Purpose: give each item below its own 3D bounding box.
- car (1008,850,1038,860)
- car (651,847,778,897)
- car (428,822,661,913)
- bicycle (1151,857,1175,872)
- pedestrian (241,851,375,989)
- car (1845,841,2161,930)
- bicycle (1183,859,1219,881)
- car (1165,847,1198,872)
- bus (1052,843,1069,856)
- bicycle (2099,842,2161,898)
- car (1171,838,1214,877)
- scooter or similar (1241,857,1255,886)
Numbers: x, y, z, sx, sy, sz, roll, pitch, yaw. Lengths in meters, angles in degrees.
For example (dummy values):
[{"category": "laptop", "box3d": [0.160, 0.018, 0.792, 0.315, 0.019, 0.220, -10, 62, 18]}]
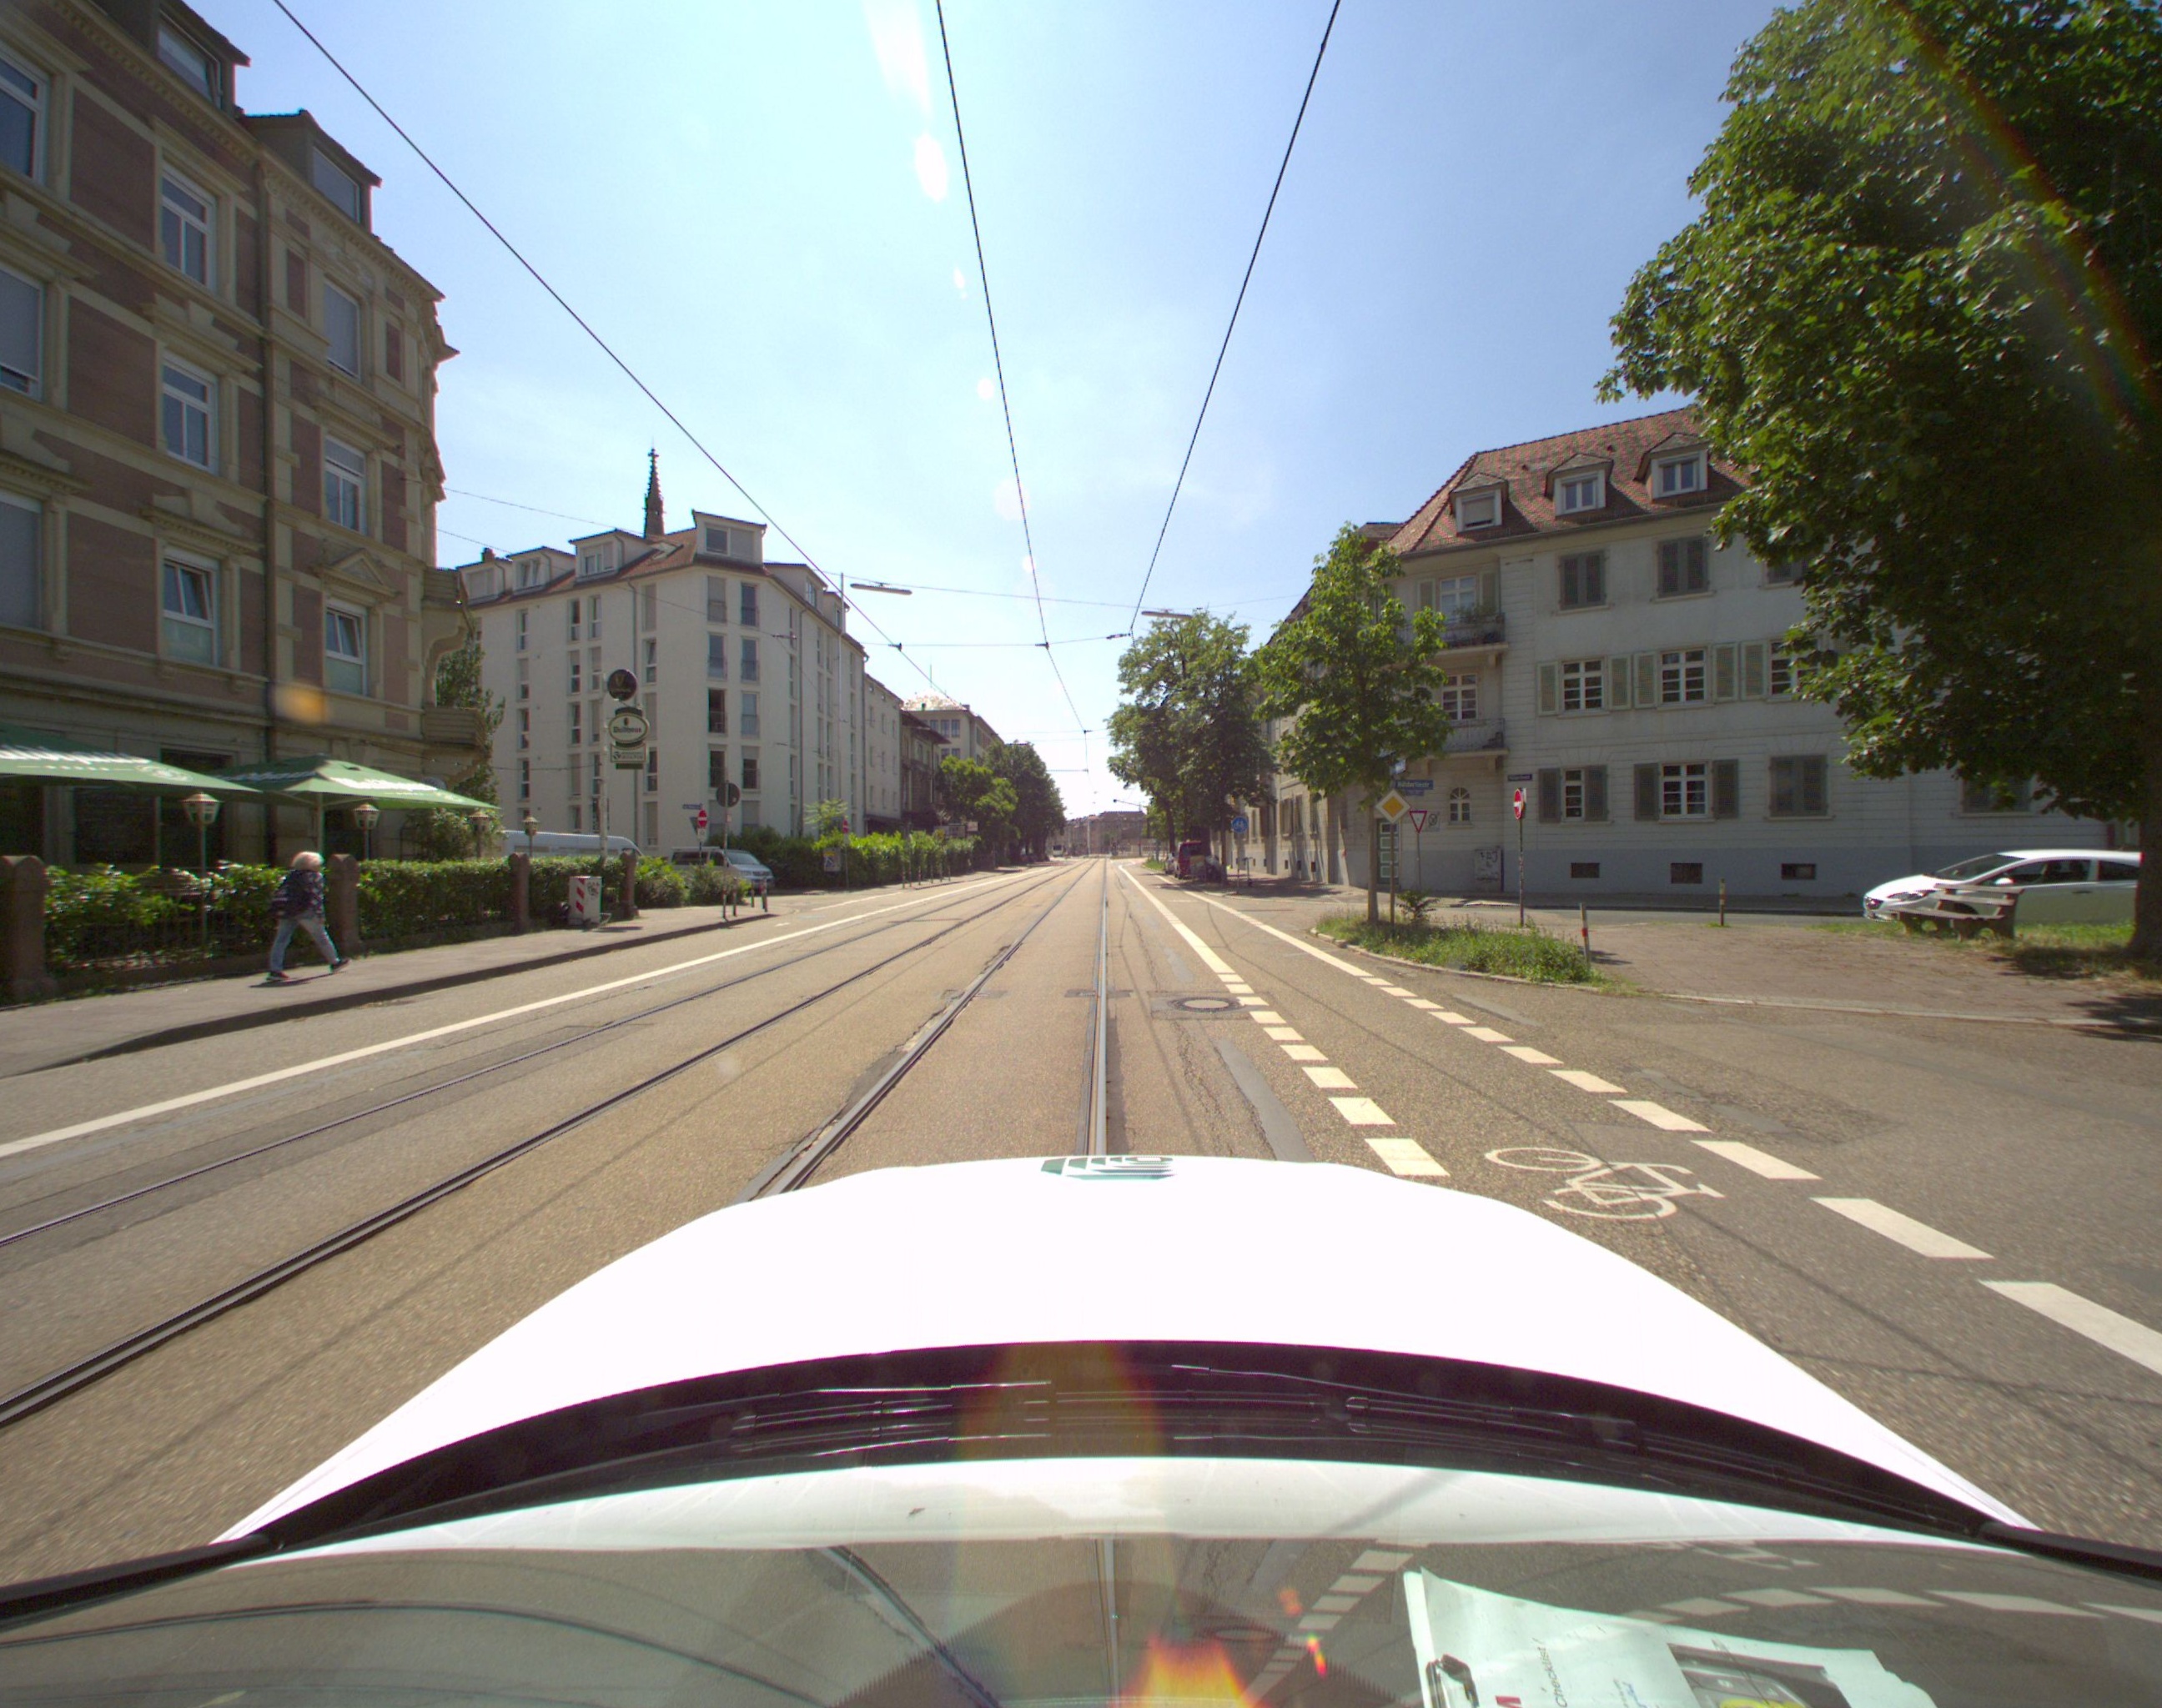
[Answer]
[{"category": "car", "box3d": [-8.176, 0.162, 114.785, 3.939, 1.374, 1.656, -1, 0, -24]}, {"category": "car", "box3d": [-15.234, 0.725, 33.898, 4.649, 1.984, 2.168, -1, 0, 22]}, {"category": "car", "box3d": [-17.051, 0.384, 26.425, 2.101, 2.590, 6.221, -1, 0, 21]}, {"category": "bicycle", "box3d": [5.675, 0.735, 56.269, 1.651, 1.015, 0.372, -1, 0, 2]}, {"category": "pedestrian", "box3d": [-9.625, 0.784, 10.179, 0.737, 1.642, 0.940, -1, 0, 4]}, {"category": "car", "box3d": [16.645, 0.512, 14.637, 3.948, 1.420, 1.865, -1, 0, 32]}, {"category": "bicycle", "box3d": [5.965, 0.806, 40.405, 1.693, 1.021, 0.364, -2, 0, -5]}, {"category": "car", "box3d": [6.411, 0.359, 52.532, 1.851, 1.577, 4.882, 0, 0, 4]}, {"category": "bus", "box3d": [-5.195, -1.188, 205.979, 2.998, 3.158, 17.509, -1, 0, 3]}, {"category": "bicycle", "box3d": [25.833, 0.359, 18.933, 2.693, 1.262, 0.675, -1, 3, 22]}, {"category": "car", "box3d": [6.019, 0.188, 44.549, 1.852, 2.013, 4.978, 0, 0, 2]}, {"category": "scooter or similar", "box3d": [6.716, 0.688, 32.822, 0.294, 1.161, 1.252, -1, 0, 1]}]
